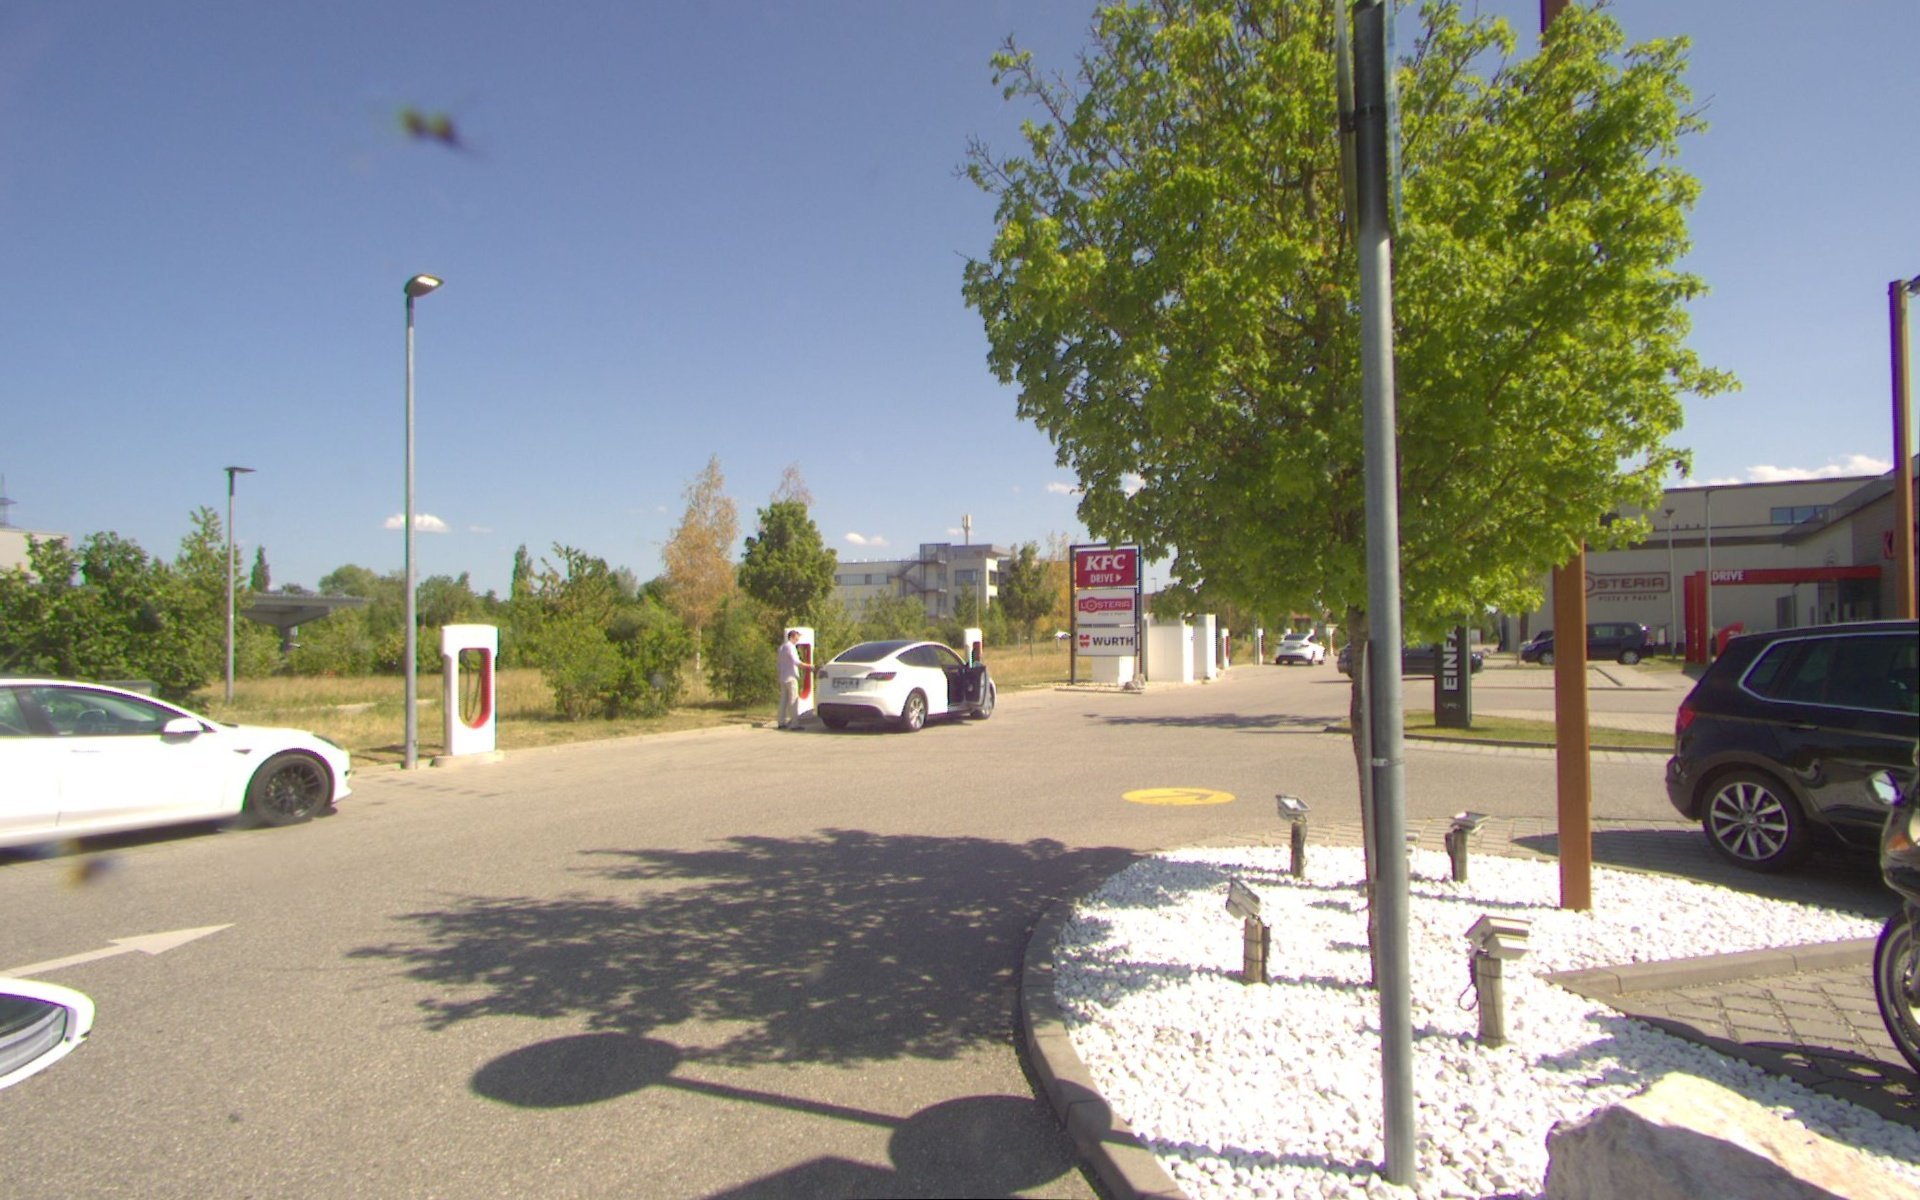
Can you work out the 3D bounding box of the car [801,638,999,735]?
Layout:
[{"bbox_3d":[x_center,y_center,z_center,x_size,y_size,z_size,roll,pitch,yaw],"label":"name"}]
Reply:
[{"bbox_3d":[-1.015,1.566,19.427,1.841,1.620,4.473,-1,-2,27],"label":"car"}]

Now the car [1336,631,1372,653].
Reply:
[{"bbox_3d":[28.210,2.988,71.660,1.921,1.588,3.985,-1,-2,28],"label":"car"}]

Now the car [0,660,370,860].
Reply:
[{"bbox_3d":[-7.593,1.248,8.253,1.795,1.395,4.431,-1,-2,29],"label":"car"}]

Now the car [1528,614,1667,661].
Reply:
[{"bbox_3d":[24.338,1.443,38.429,4.316,1.707,1.636,-1,-2,27],"label":"car"}]

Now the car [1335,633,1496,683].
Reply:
[{"bbox_3d":[13.825,1.746,30.579,4.133,1.459,1.698,-1,-1,8],"label":"car"}]

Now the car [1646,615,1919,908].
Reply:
[{"bbox_3d":[6.147,0.853,5.085,1.862,1.556,4.185,0,-1,-16],"label":"car"}]

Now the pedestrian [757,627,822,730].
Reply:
[{"bbox_3d":[-3.129,1.417,18.433,0.725,1.823,1.032,-1,-1,27],"label":"pedestrian"}]

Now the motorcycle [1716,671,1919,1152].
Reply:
[{"bbox_3d":[3.285,0.867,2.314,1.052,1.267,2.247,1,-1,-18],"label":"motorcycle"}]

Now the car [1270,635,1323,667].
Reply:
[{"bbox_3d":[17.761,2.647,52.737,1.922,1.588,3.984,-1,-2,29],"label":"car"}]
